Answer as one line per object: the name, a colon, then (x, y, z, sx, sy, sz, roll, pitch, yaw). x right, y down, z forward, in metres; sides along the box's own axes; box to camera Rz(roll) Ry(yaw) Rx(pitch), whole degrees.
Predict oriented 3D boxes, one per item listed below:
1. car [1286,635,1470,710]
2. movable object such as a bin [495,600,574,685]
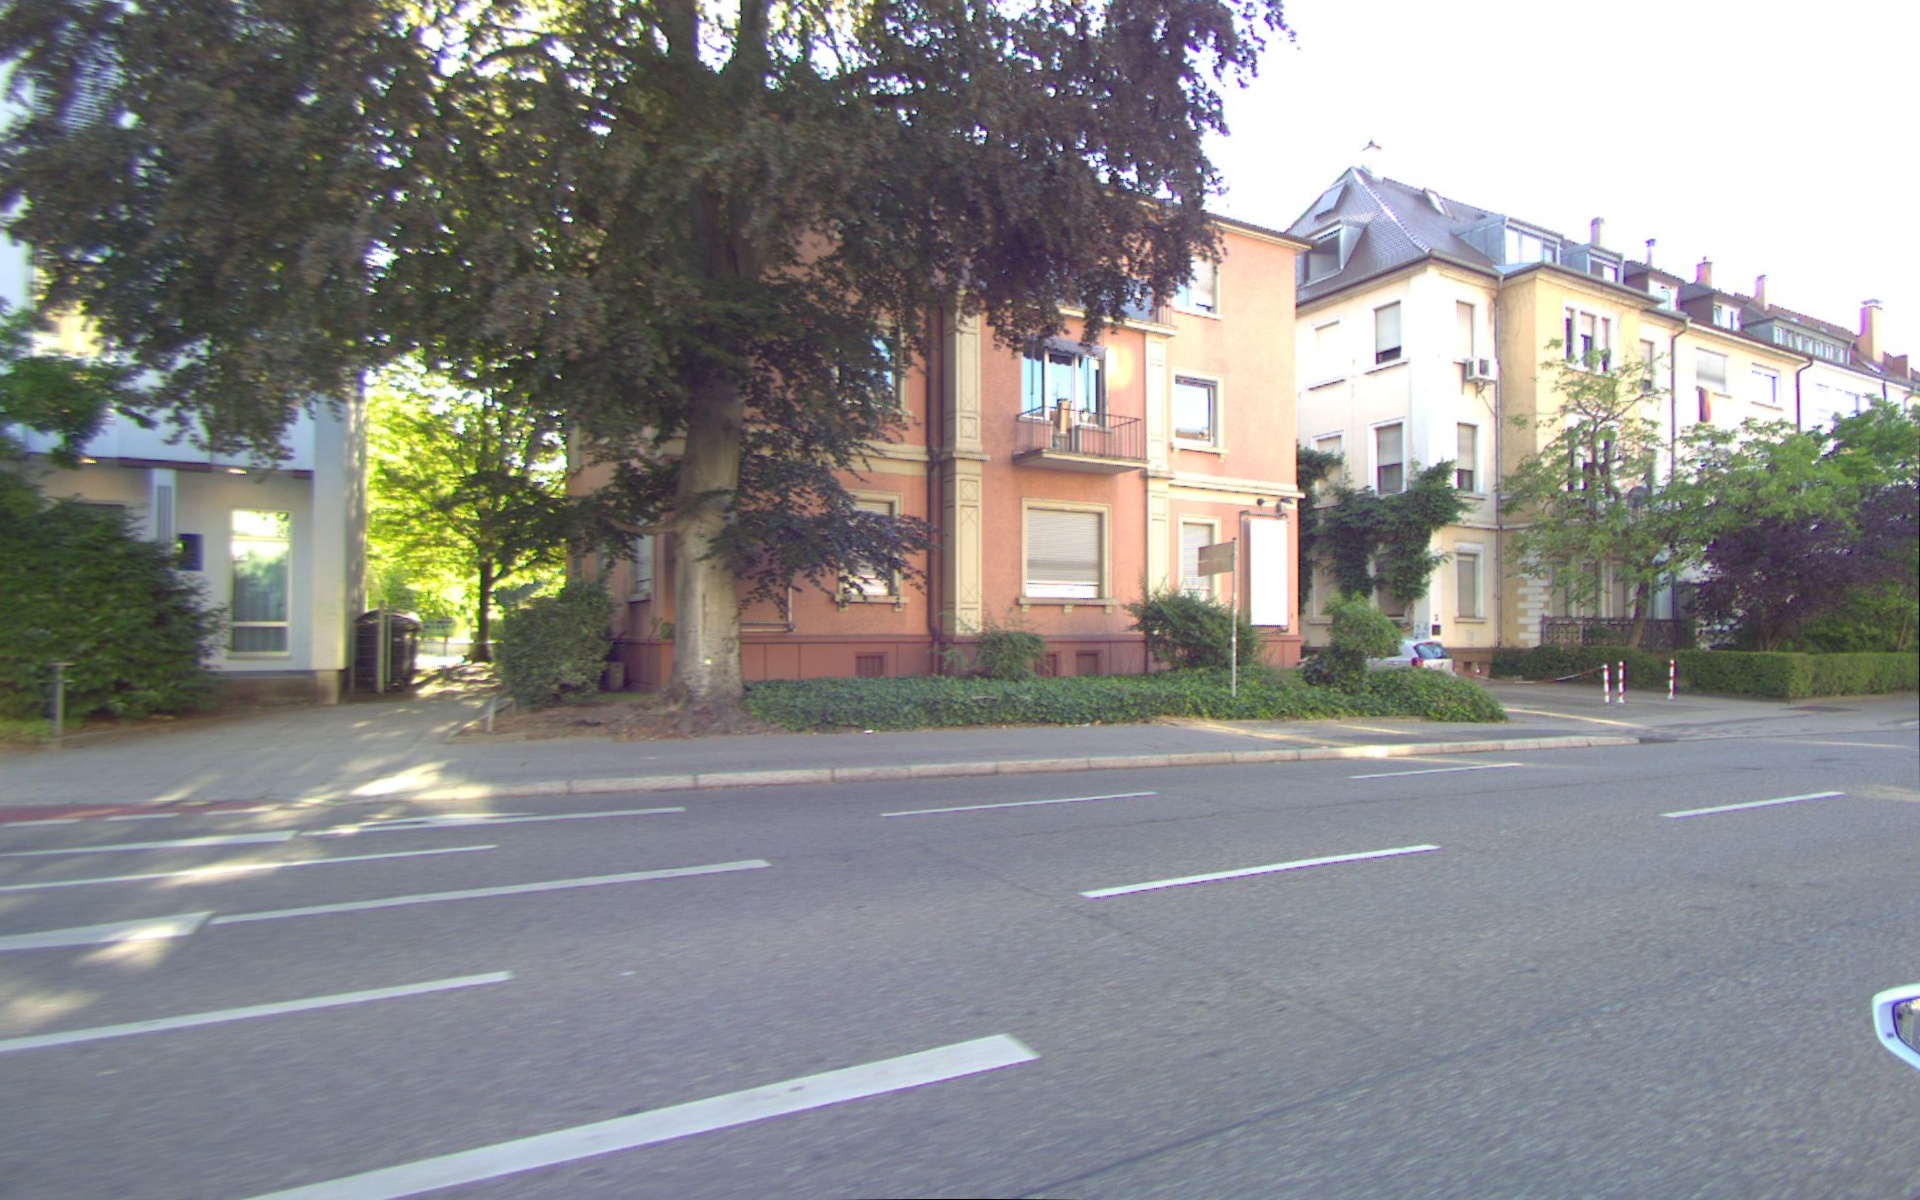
car: (9.346, 1.566, 22.684, 1.796, 1.505, 3.478, 1, -2, -32)
movable object such as a bin: (-8.786, 0.854, 20.698, 1.437, 1.673, 1.498, 1, -1, -26)
